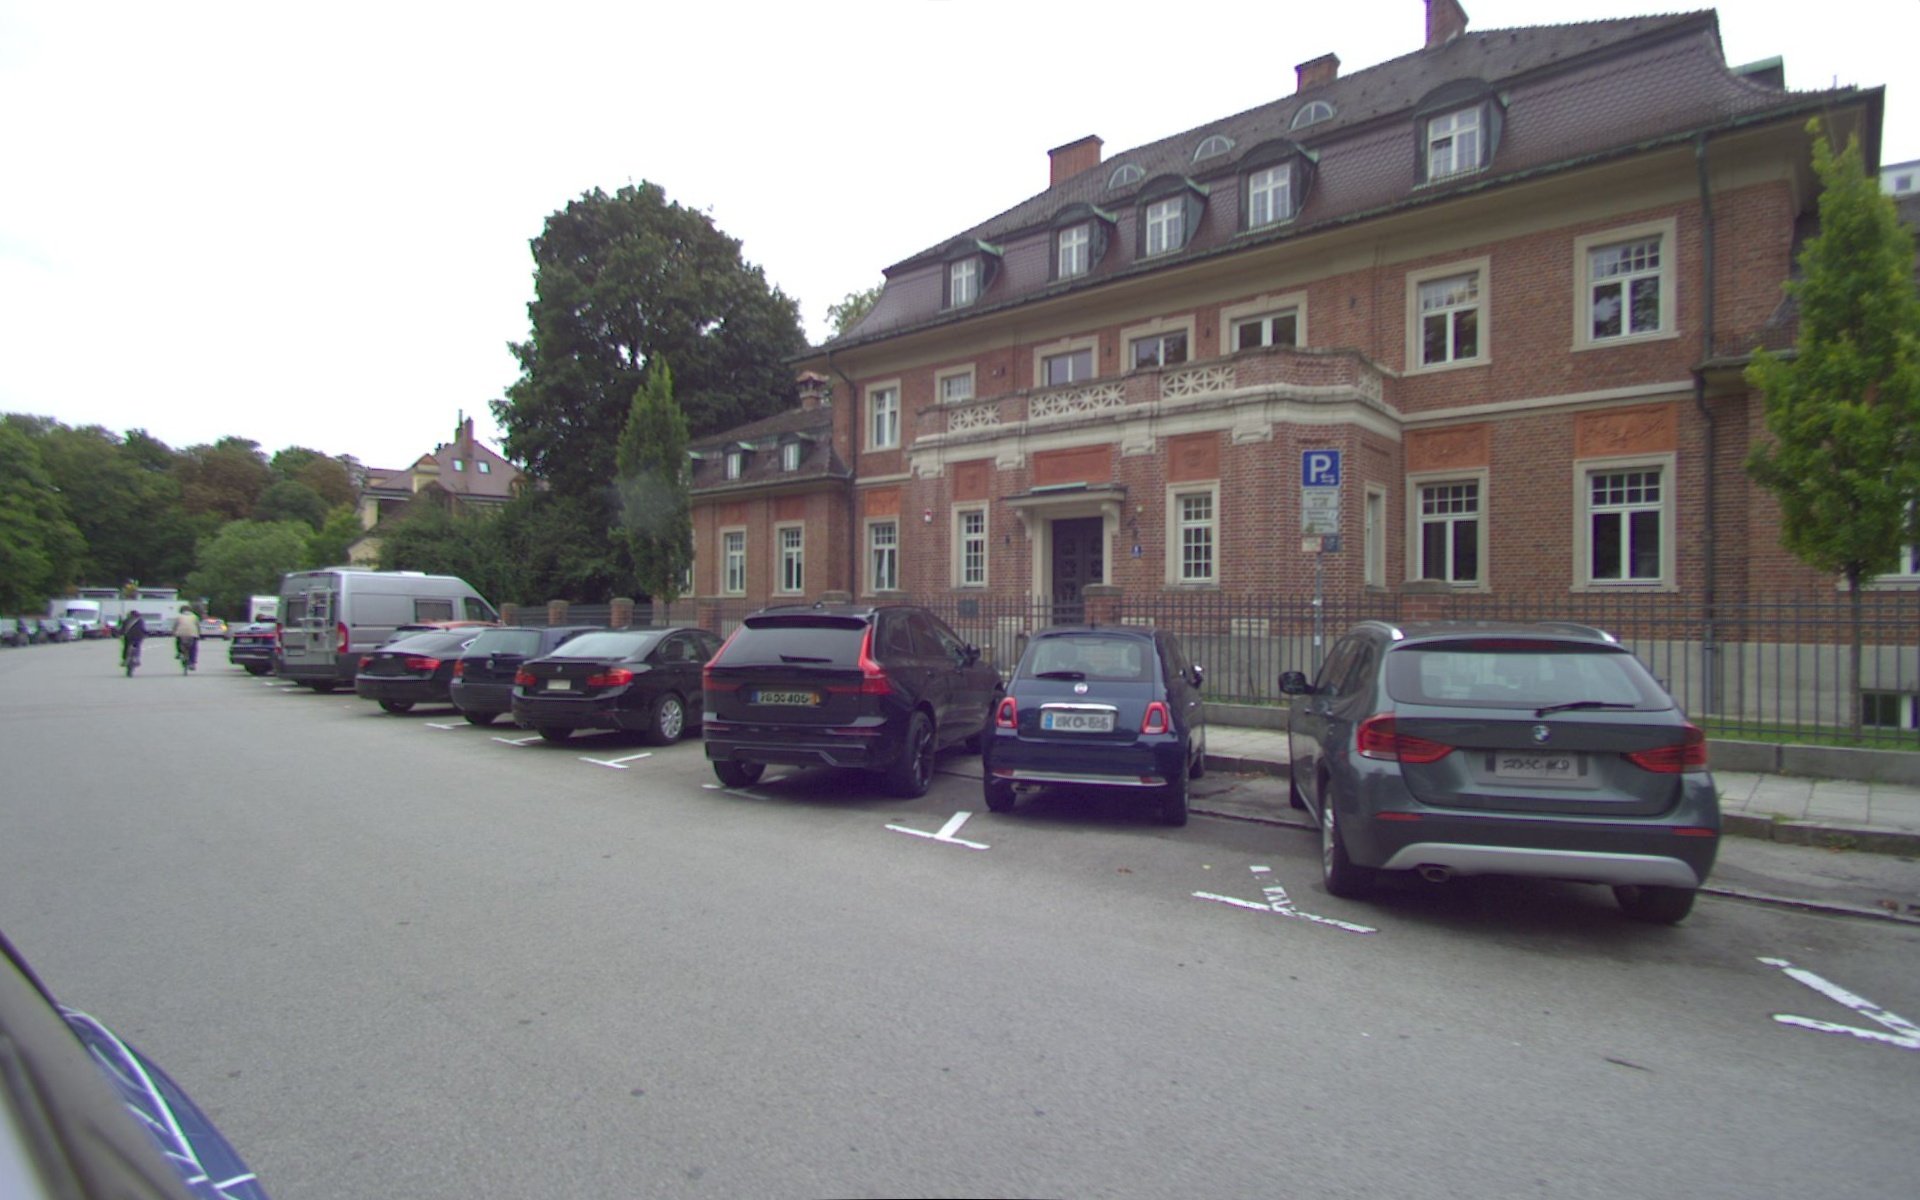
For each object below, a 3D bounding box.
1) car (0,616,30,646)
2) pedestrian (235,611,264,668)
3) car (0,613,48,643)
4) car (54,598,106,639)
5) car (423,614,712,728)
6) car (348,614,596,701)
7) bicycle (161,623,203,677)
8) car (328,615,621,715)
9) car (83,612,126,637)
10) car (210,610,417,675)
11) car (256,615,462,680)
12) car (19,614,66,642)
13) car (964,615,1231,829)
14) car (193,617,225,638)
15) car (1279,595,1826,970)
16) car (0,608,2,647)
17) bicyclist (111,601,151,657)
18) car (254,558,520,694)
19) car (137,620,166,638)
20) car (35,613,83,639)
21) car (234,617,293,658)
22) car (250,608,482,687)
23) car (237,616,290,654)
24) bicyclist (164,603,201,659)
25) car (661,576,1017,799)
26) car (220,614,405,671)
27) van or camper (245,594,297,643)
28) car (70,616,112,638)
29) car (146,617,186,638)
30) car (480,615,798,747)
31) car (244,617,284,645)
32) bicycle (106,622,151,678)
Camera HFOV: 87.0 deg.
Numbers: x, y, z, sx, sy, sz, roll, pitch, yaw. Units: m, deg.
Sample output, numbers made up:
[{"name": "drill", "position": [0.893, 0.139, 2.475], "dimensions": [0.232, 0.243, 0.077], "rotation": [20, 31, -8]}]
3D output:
[{"name": "car", "position": [-48.620, 1.549, 51.164], "dimensions": [1.724, 1.475, 4.253], "rotation": [2, -2, -34]}, {"name": "pedestrian", "position": [-21.072, 1.158, 30.021], "dimensions": [0.582, 1.660, 0.715], "rotation": [2, -2, -43]}, {"name": "car", "position": [-51.648, 1.525, 55.582], "dimensions": [1.703, 1.541, 4.215], "rotation": [3, -3, -34]}, {"name": "car", "position": [-61.689, 1.352, 71.030], "dimensions": [2.052, 2.707, 6.102], "rotation": [4, -4, -35]}, {"name": "car", "position": [-5.779, 1.019, 15.603], "dimensions": [1.804, 1.462, 4.504], "rotation": [1, -2, 15]}, {"name": "car", "position": [-9.702, 1.071, 20.570], "dimensions": [1.923, 1.528, 4.496], "rotation": [0, -1, 20]}, {"name": "bicycle", "position": [-20.161, 1.270, 26.214], "dimensions": [0.698, 1.315, 2.121], "rotation": [1, -2, -42]}, {"name": "car", "position": [-8.044, 1.045, 17.327], "dimensions": [1.961, 1.462, 4.499], "rotation": [0, -2, 18]}, {"name": "car", "position": [-68.061, 1.976, 80.580], "dimensions": [1.908, 1.919, 5.085], "rotation": [4, -4, -33]}, {"name": "car", "position": [-17.653, 1.171, 27.897], "dimensions": [1.952, 1.606, 4.493], "rotation": [0, -2, 22]}, {"name": "car", "position": [-15.576, 1.222, 26.511], "dimensions": [1.822, 1.498, 4.388], "rotation": [1, -2, 23]}, {"name": "car", "position": [-54.543, 1.673, 60.216], "dimensions": [1.264, 1.518, 5.220], "rotation": [4, -4, -34]}, {"name": "car", "position": [1.518, 0.961, 9.417], "dimensions": [1.805, 1.483, 4.305], "rotation": [0, -3, 17]}, {"name": "car", "position": [-53.318, 1.919, 71.886], "dimensions": [1.749, 1.486, 4.143], "rotation": [1, -1, -36]}, {"name": "car", "position": [3.276, 0.821, 6.720], "dimensions": [1.871, 1.579, 4.507], "rotation": [0, -1, 13]}, {"name": "car", "position": [-45.525, 1.272, 46.148], "dimensions": [1.797, 1.875, 4.911], "rotation": [0, -1, -33]}, {"name": "bicyclist", "position": [-20.509, 0.718, 25.037], "dimensions": [0.688, 1.362, 0.931], "rotation": [1, -2, -42]}, {"name": "car", "position": [-12.140, 0.577, 21.845], "dimensions": [2.219, 2.583, 4.602], "rotation": [0, -2, 22]}, {"name": "car", "position": [-72.745, 2.623, 91.022], "dimensions": [1.868, 1.457, 4.275], "rotation": [-2, -1, -40]}, {"name": "car", "position": [-58.092, 1.715, 65.331], "dimensions": [1.846, 1.581, 5.012], "rotation": [4, -4, -37]}, {"name": "car", "position": [-28.525, 1.511, 41.421], "dimensions": [1.820, 1.547, 4.573], "rotation": [4, -3, -35]}, {"name": "car", "position": [-14.008, 1.109, 24.217], "dimensions": [1.954, 1.637, 4.493], "rotation": [2, -2, 22]}, {"name": "car", "position": [-31.270, 1.560, 45.518], "dimensions": [1.820, 1.547, 4.533], "rotation": [4, -3, -34]}, {"name": "bicyclist", "position": [-20.046, 0.795, 26.087], "dimensions": [0.688, 1.408, 0.931], "rotation": [1, -2, -41]}, {"name": "car", "position": [-0.879, 0.741, 10.157], "dimensions": [1.970, 1.677, 4.504], "rotation": [1, -2, 16]}, {"name": "car", "position": [-19.227, 1.229, 30.178], "dimensions": [1.933, 1.541, 4.284], "rotation": [1, -1, 42]}, {"name": "van or camper", "position": [-44.622, 1.245, 65.686], "dimensions": [2.421, 2.963, 7.231], "rotation": [3, -3, -32]}, {"name": "car", "position": [-65.303, 2.027, 76.105], "dimensions": [1.846, 1.518, 4.849], "rotation": [4, -4, -35]}, {"name": "car", "position": [-67.521, 2.357, 86.132], "dimensions": [1.965, 1.706, 4.348], "rotation": [-1, -2, -28]}, {"name": "car", "position": [-4.013, 0.995, 13.595], "dimensions": [1.910, 1.429, 4.504], "rotation": [0, -2, 15]}, {"name": "car", "position": [-40.404, 1.790, 58.800], "dimensions": [1.754, 1.547, 4.239], "rotation": [4, -3, -34]}, {"name": "bicycle", "position": [-20.618, 1.208, 25.077], "dimensions": [0.698, 1.315, 2.120], "rotation": [1, -2, -43]}]
